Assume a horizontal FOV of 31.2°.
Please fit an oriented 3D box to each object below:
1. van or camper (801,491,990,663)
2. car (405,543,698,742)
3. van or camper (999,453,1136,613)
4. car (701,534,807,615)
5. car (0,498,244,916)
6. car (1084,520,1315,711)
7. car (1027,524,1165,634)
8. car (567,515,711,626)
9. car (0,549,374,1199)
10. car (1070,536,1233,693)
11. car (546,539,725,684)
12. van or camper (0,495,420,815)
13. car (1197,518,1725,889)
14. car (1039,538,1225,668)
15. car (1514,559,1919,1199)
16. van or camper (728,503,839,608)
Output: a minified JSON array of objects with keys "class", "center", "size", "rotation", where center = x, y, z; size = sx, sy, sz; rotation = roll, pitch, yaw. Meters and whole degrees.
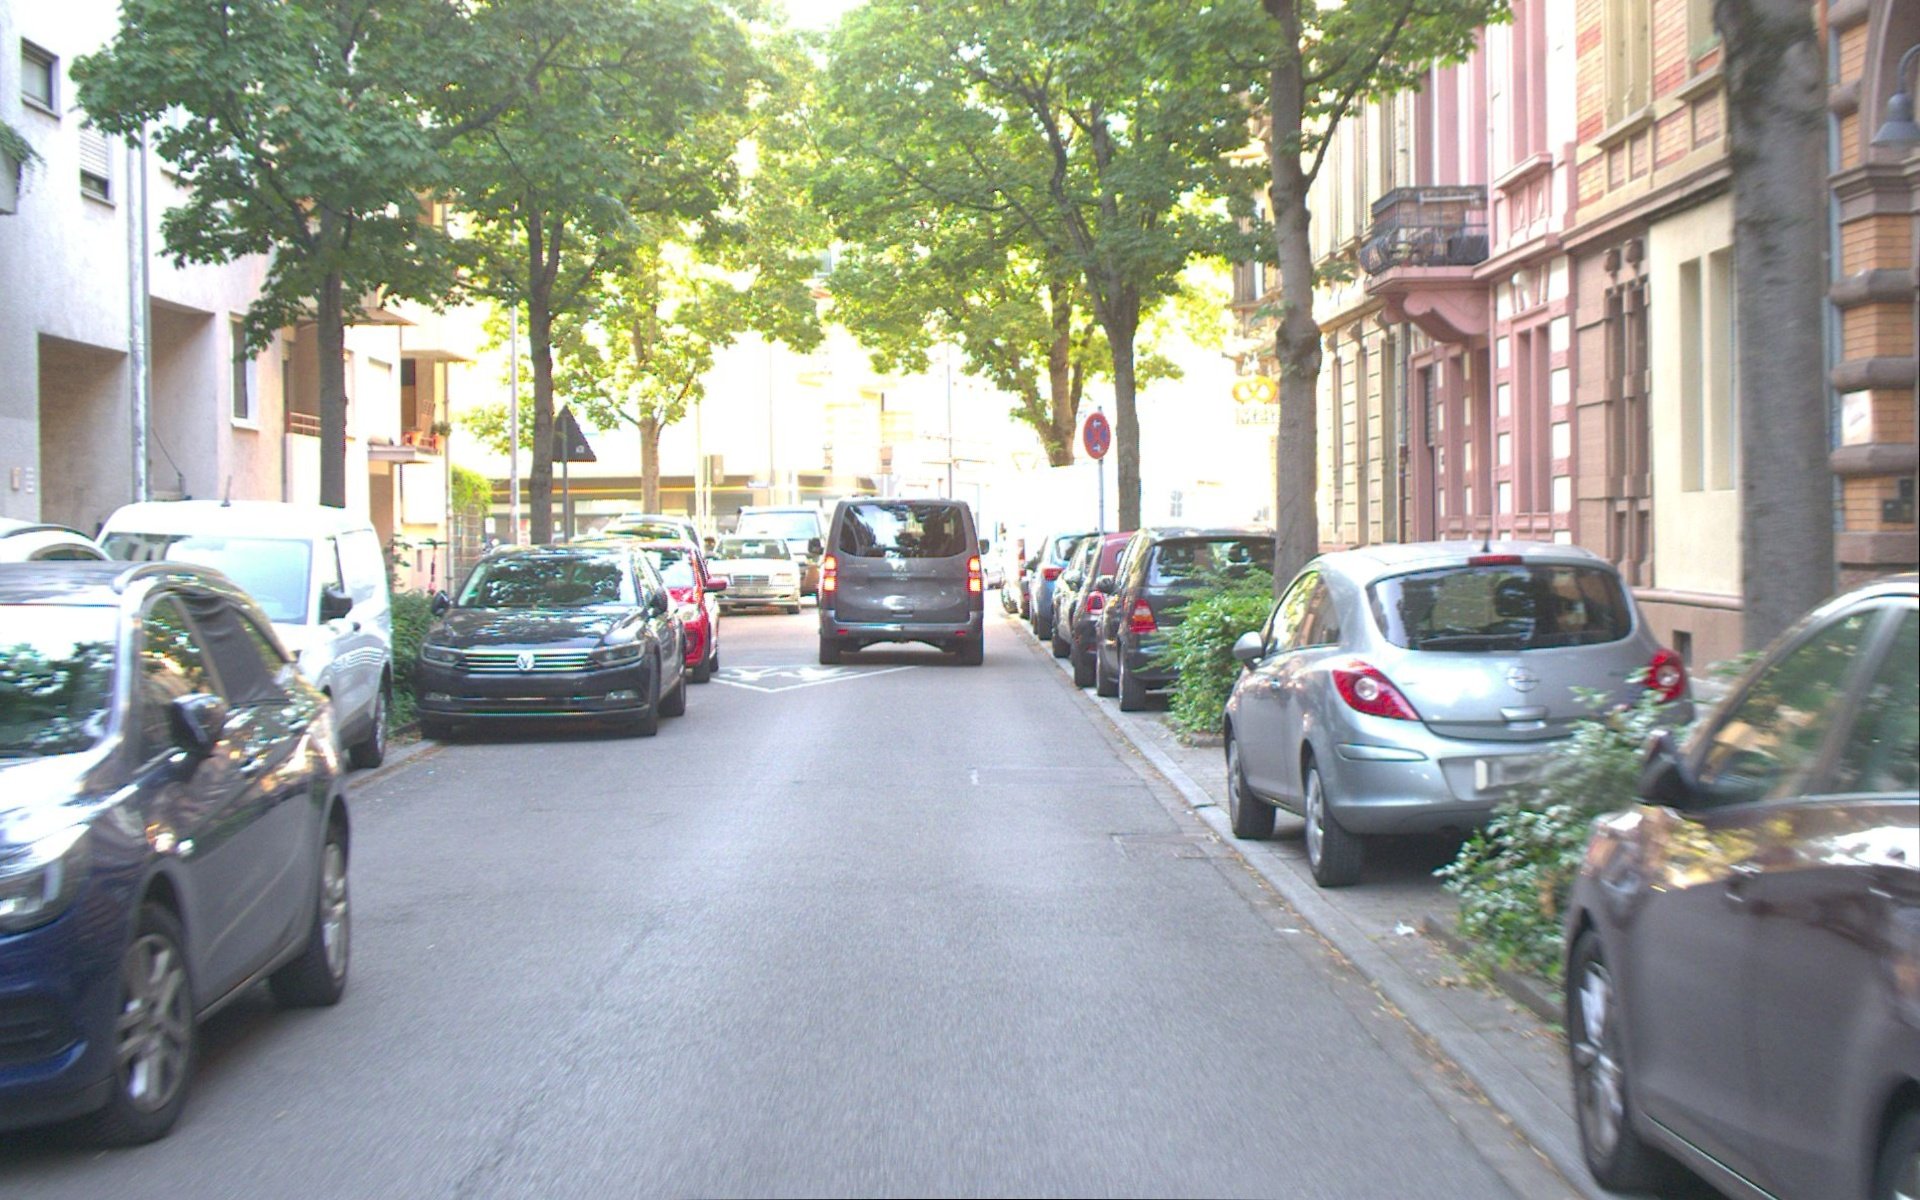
[{"class":"van or camper","center":[-0.697,-0.299,40.137],"size":[2.035,1.891,4.271],"rotation":[0,1,1]},{"class":"car","center":[-3.201,0.279,27.756],"size":[1.846,1.446,4.503],"rotation":[0,1,0]},{"class":"van or camper","center":[1.773,-1.144,58.468],"size":[1.993,2.590,5.425],"rotation":[0,1,-2]},{"class":"car","center":[-3.705,-0.480,62.355],"size":[1.741,1.399,3.375],"rotation":[-1,1,-1]},{"class":"car","center":[-4.883,0.353,16.364],"size":[2.034,1.666,4.649],"rotation":[3,1,-2]},{"class":"car","center":[2.062,0.089,30.476],"size":[1.611,1.553,3.767],"rotation":[-1,1,-2]},{"class":"car","center":[1.836,-0.314,47.499],"size":[1.750,1.466,3.776],"rotation":[0,1,0]},{"class":"car","center":[-4.982,-0.492,53.797],"size":[1.897,1.631,4.156],"rotation":[1,1,-1]},{"class":"car","center":[-2.953,0.614,9.932],"size":[1.830,1.512,4.516],"rotation":[0,1,-1]},{"class":"car","center":[1.905,0.109,34.775],"size":[1.551,1.491,3.610],"rotation":[0,1,2]},{"class":"car","center":[-3.382,0.081,36.347],"size":[1.630,1.425,3.543],"rotation":[-1,1,-2]},{"class":"van or camper","center":[-4.756,0.260,22.057],"size":[1.931,1.754,4.466],"rotation":[3,1,-2]},{"class":"car","center":[2.225,0.391,16.299],"size":[1.697,1.477,4.001],"rotation":[-2,1,-3]},{"class":"car","center":[1.922,-0.002,39.424],"size":[1.715,1.398,3.814],"rotation":[-1,1,-3]},{"class":"car","center":[2.296,0.650,6.567],"size":[1.722,1.445,4.215],"rotation":[-1,1,-1]},{"class":"van or camper","center":[-3.429,-0.886,67.452],"size":[1.862,1.976,4.271],"rotation":[-1,1,1]}]
